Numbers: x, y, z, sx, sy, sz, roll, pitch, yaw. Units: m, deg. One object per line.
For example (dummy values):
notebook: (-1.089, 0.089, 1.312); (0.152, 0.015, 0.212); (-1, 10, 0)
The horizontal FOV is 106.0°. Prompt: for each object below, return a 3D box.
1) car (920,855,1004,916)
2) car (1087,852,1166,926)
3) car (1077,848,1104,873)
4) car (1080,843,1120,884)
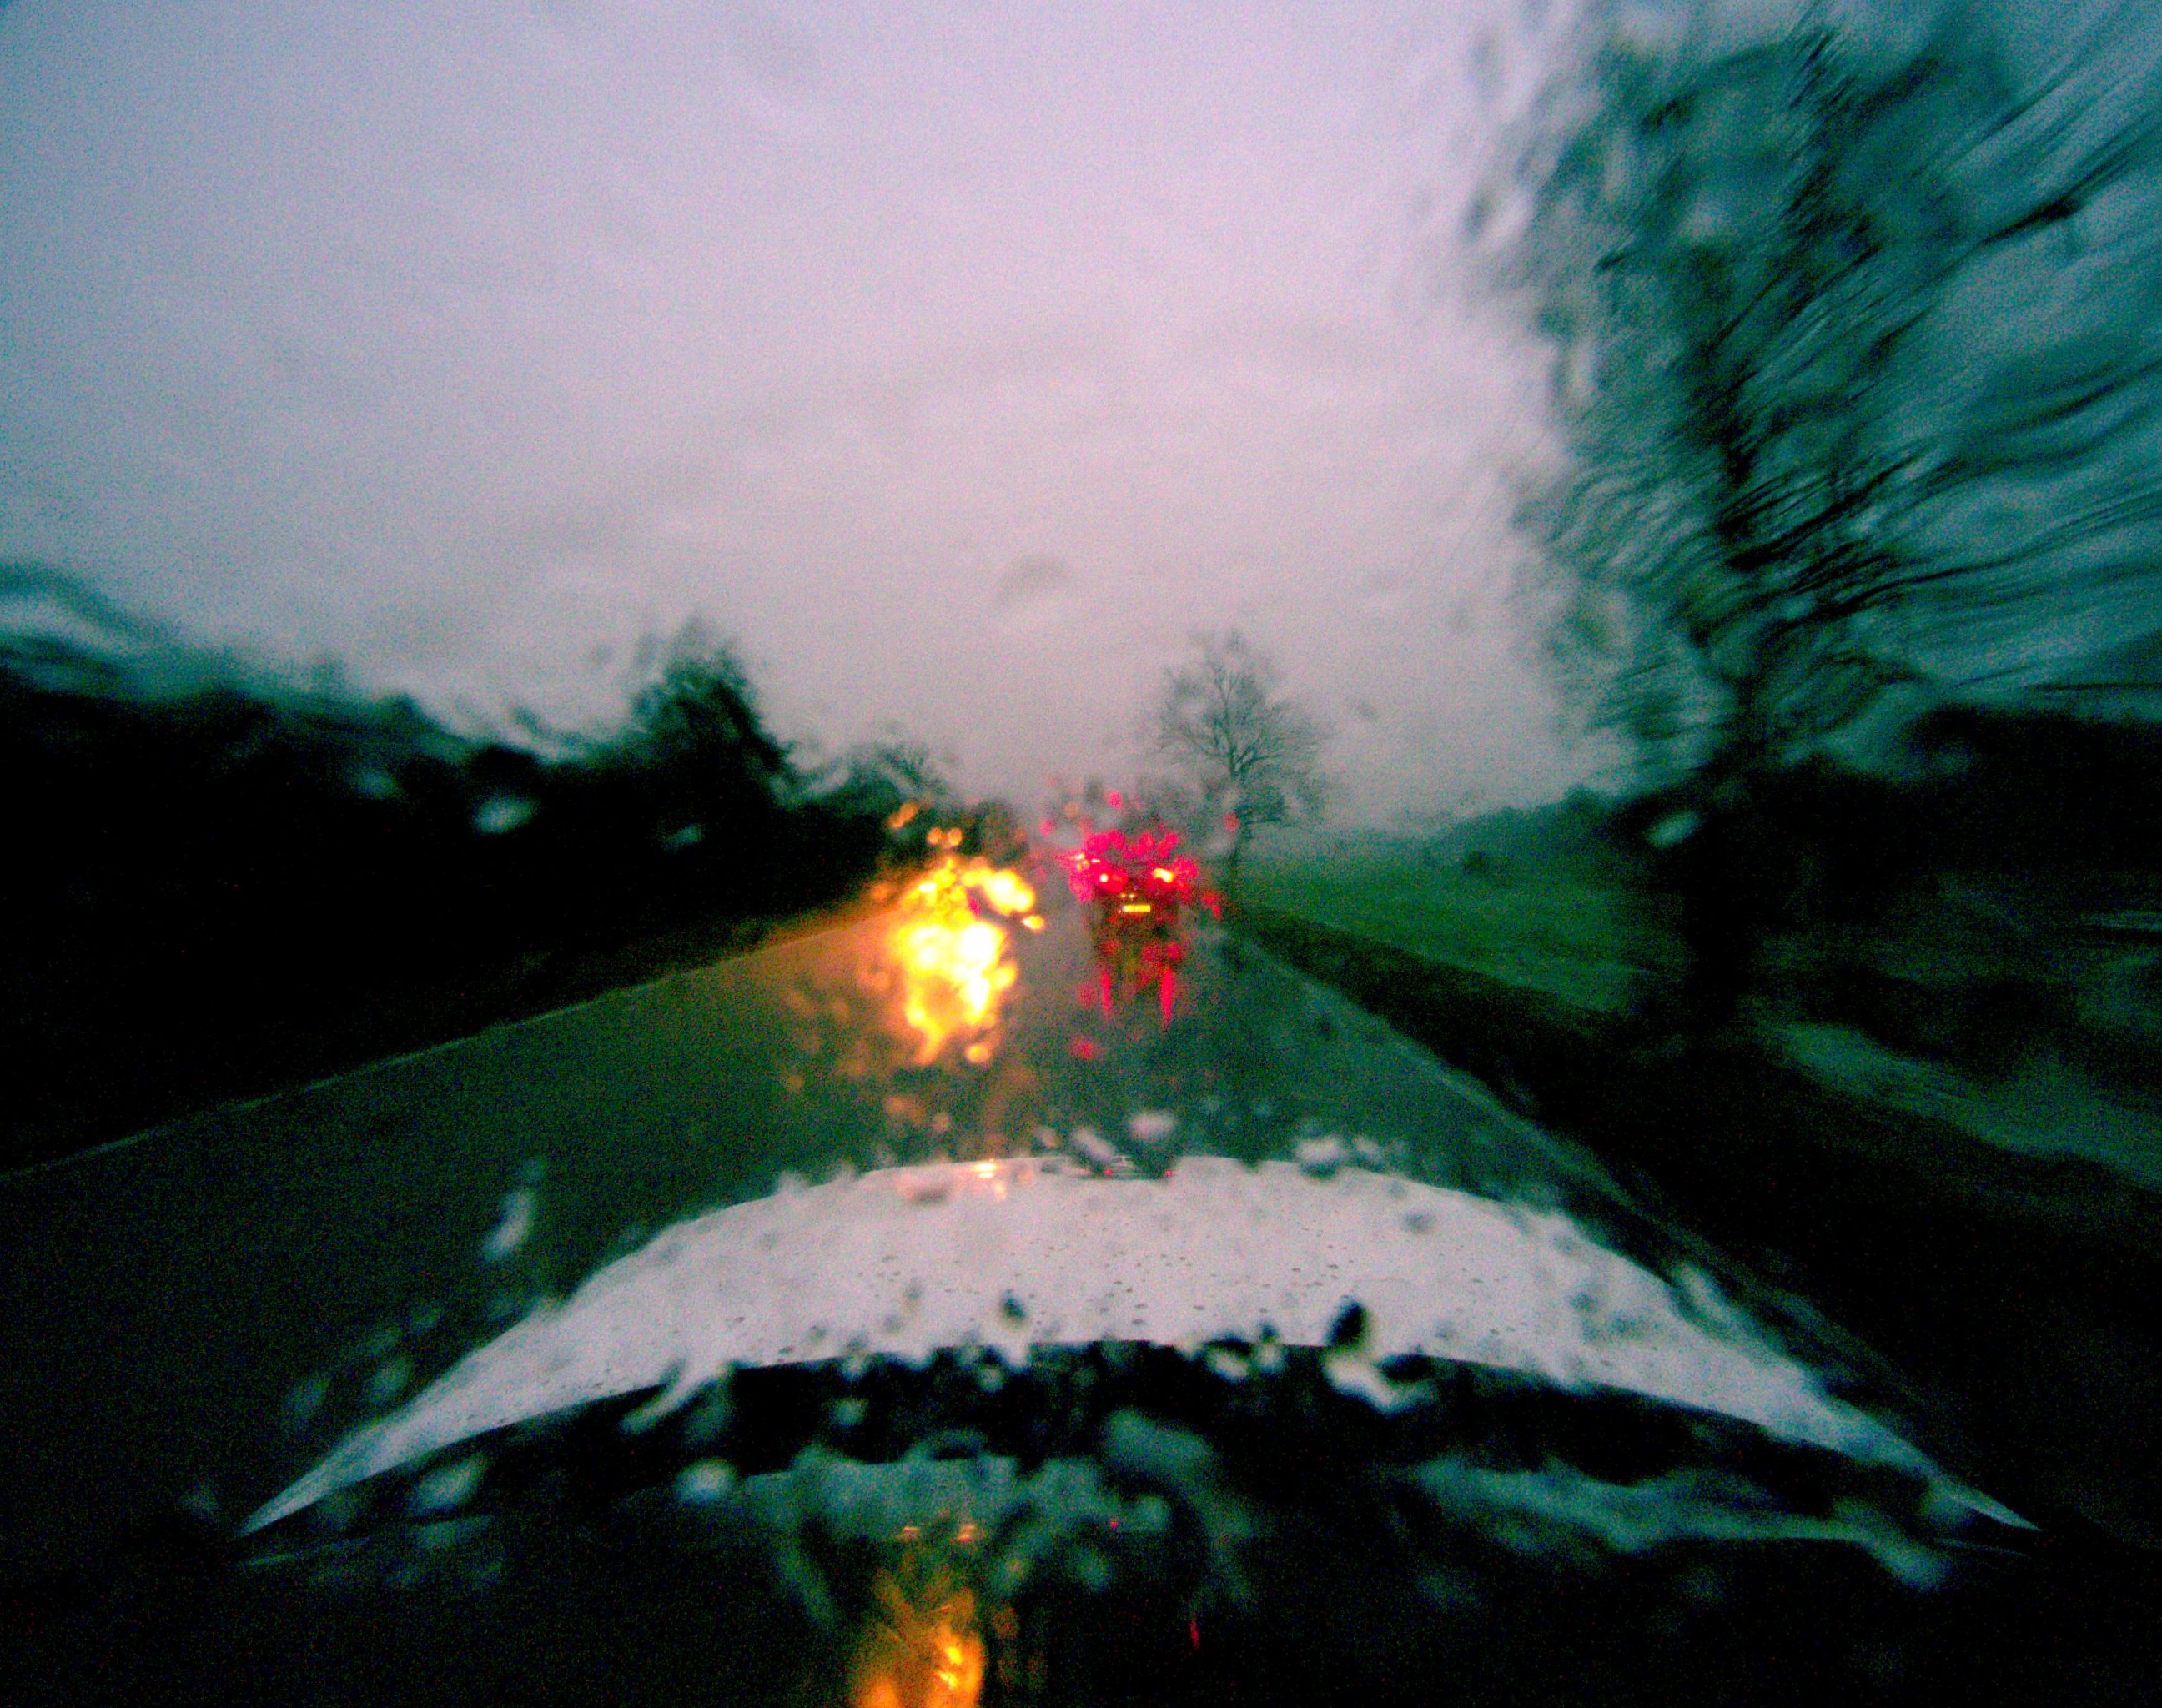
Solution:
car: (-3.126, 0.784, 22.076); (1.649, 1.486, 3.671); (0, 0, 1)
car: (0.976, 0.665, 17.003); (1.493, 1.398, 3.203); (0, 0, 4)
car: (0.733, 0.447, 60.113); (1.856, 1.700, 4.470); (-1, 0, 2)
car: (1.041, 0.475, 41.987); (1.844, 2.013, 4.004); (0, 0, 4)
